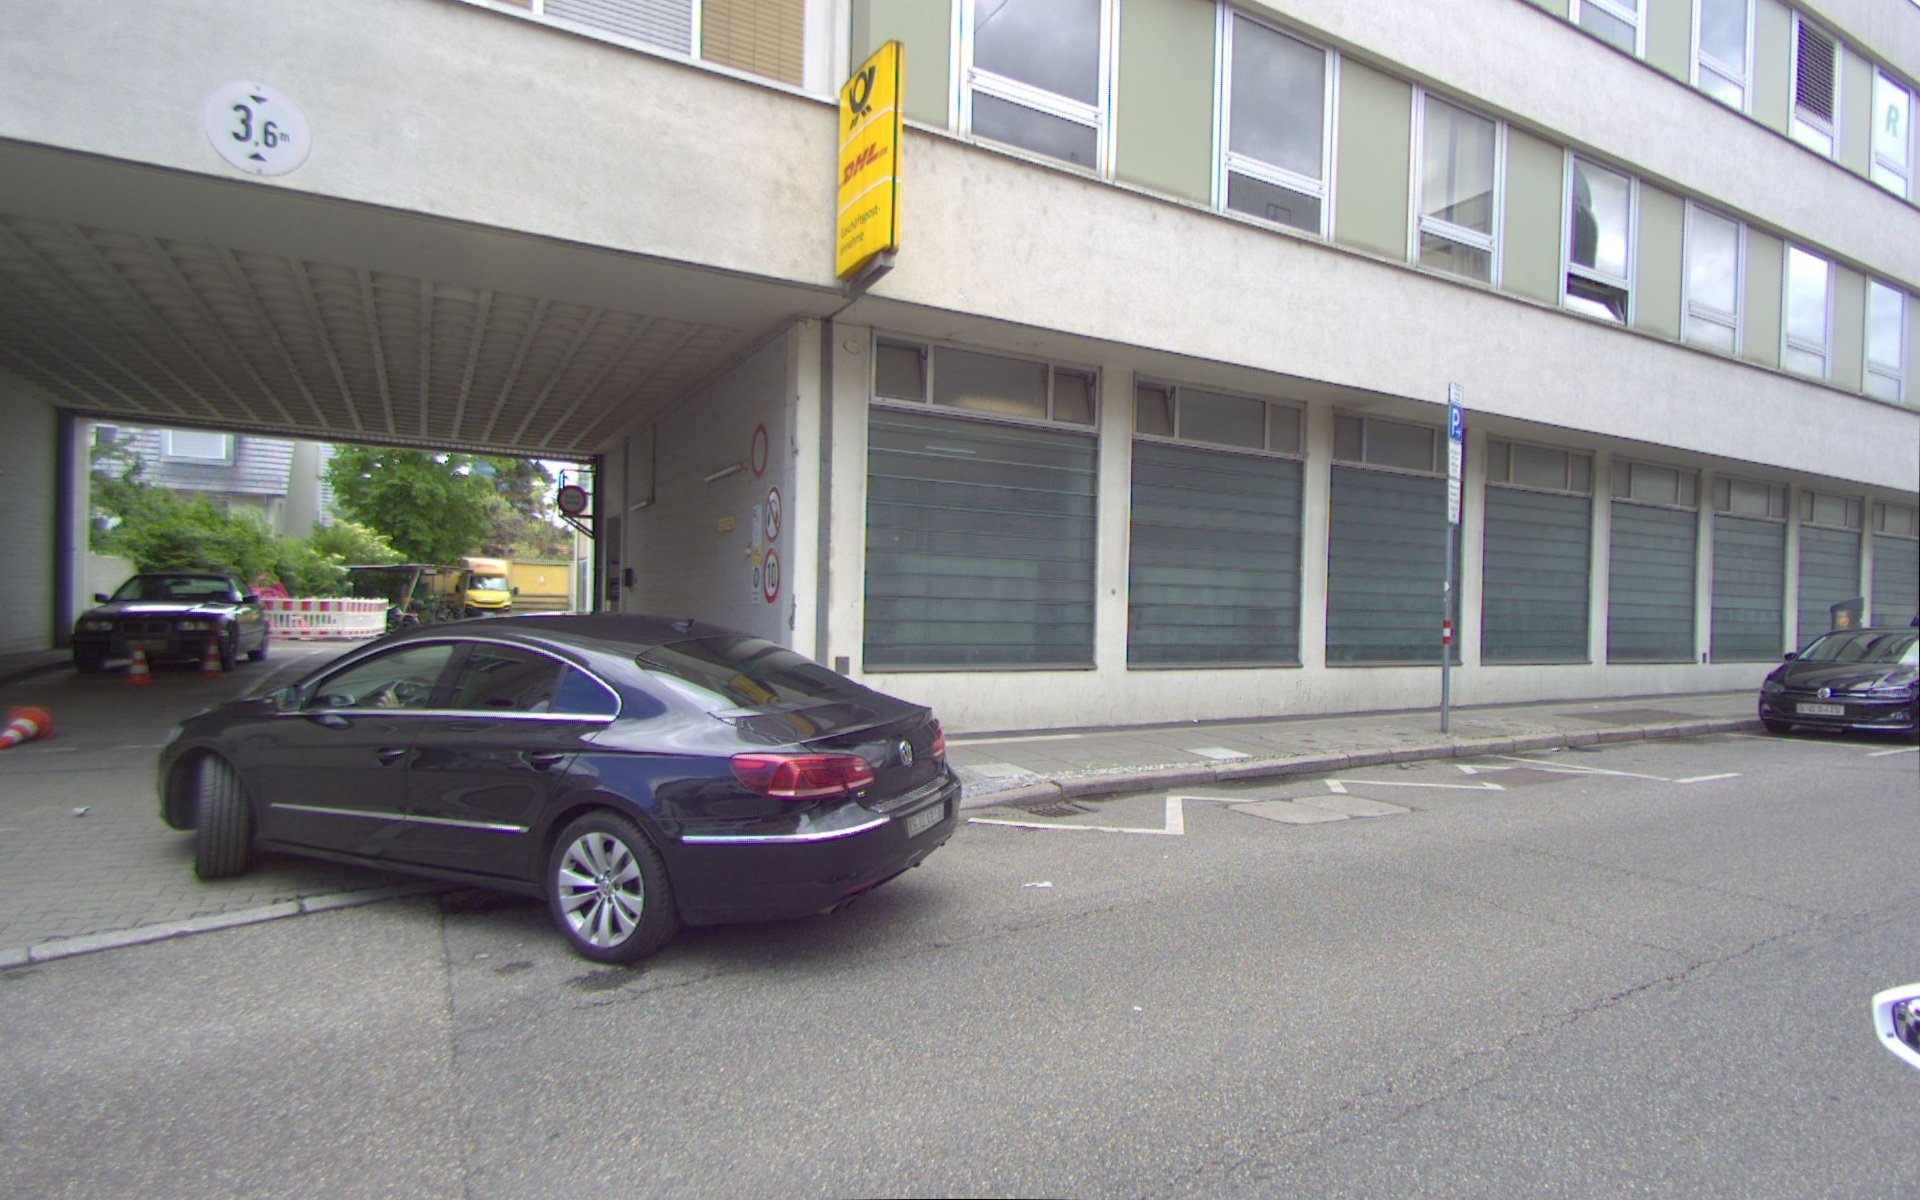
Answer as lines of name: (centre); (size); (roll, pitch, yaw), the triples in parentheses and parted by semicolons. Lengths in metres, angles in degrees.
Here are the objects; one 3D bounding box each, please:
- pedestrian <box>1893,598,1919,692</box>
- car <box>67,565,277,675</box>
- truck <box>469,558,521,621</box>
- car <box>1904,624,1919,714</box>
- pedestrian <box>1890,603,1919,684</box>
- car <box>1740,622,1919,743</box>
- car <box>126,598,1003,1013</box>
pedestrian: (18.248, 0.838, 19.012); (1.043, 1.741, 0.586); (1, 0, -31)
car: (-11.166, 0.234, 14.547); (1.604, 1.341, 4.421); (1, 0, -28)
truck: (-22.355, -0.551, 48.518); (1.971, 2.789, 7.255); (1, 1, -23)
car: (17.520, 1.111, 16.358); (4.209, 1.444, 1.809); (1, -1, -27)
pedestrian: (20.831, 0.944, 21.928); (0.642, 1.741, 0.586); (1, 0, -30)
car: (12.524, 1.034, 13.716); (3.826, 1.444, 1.708); (1, -1, -31)
car: (-2.119, 0.753, 5.279); (4.368, 1.417, 1.656); (1, 0, 23)
